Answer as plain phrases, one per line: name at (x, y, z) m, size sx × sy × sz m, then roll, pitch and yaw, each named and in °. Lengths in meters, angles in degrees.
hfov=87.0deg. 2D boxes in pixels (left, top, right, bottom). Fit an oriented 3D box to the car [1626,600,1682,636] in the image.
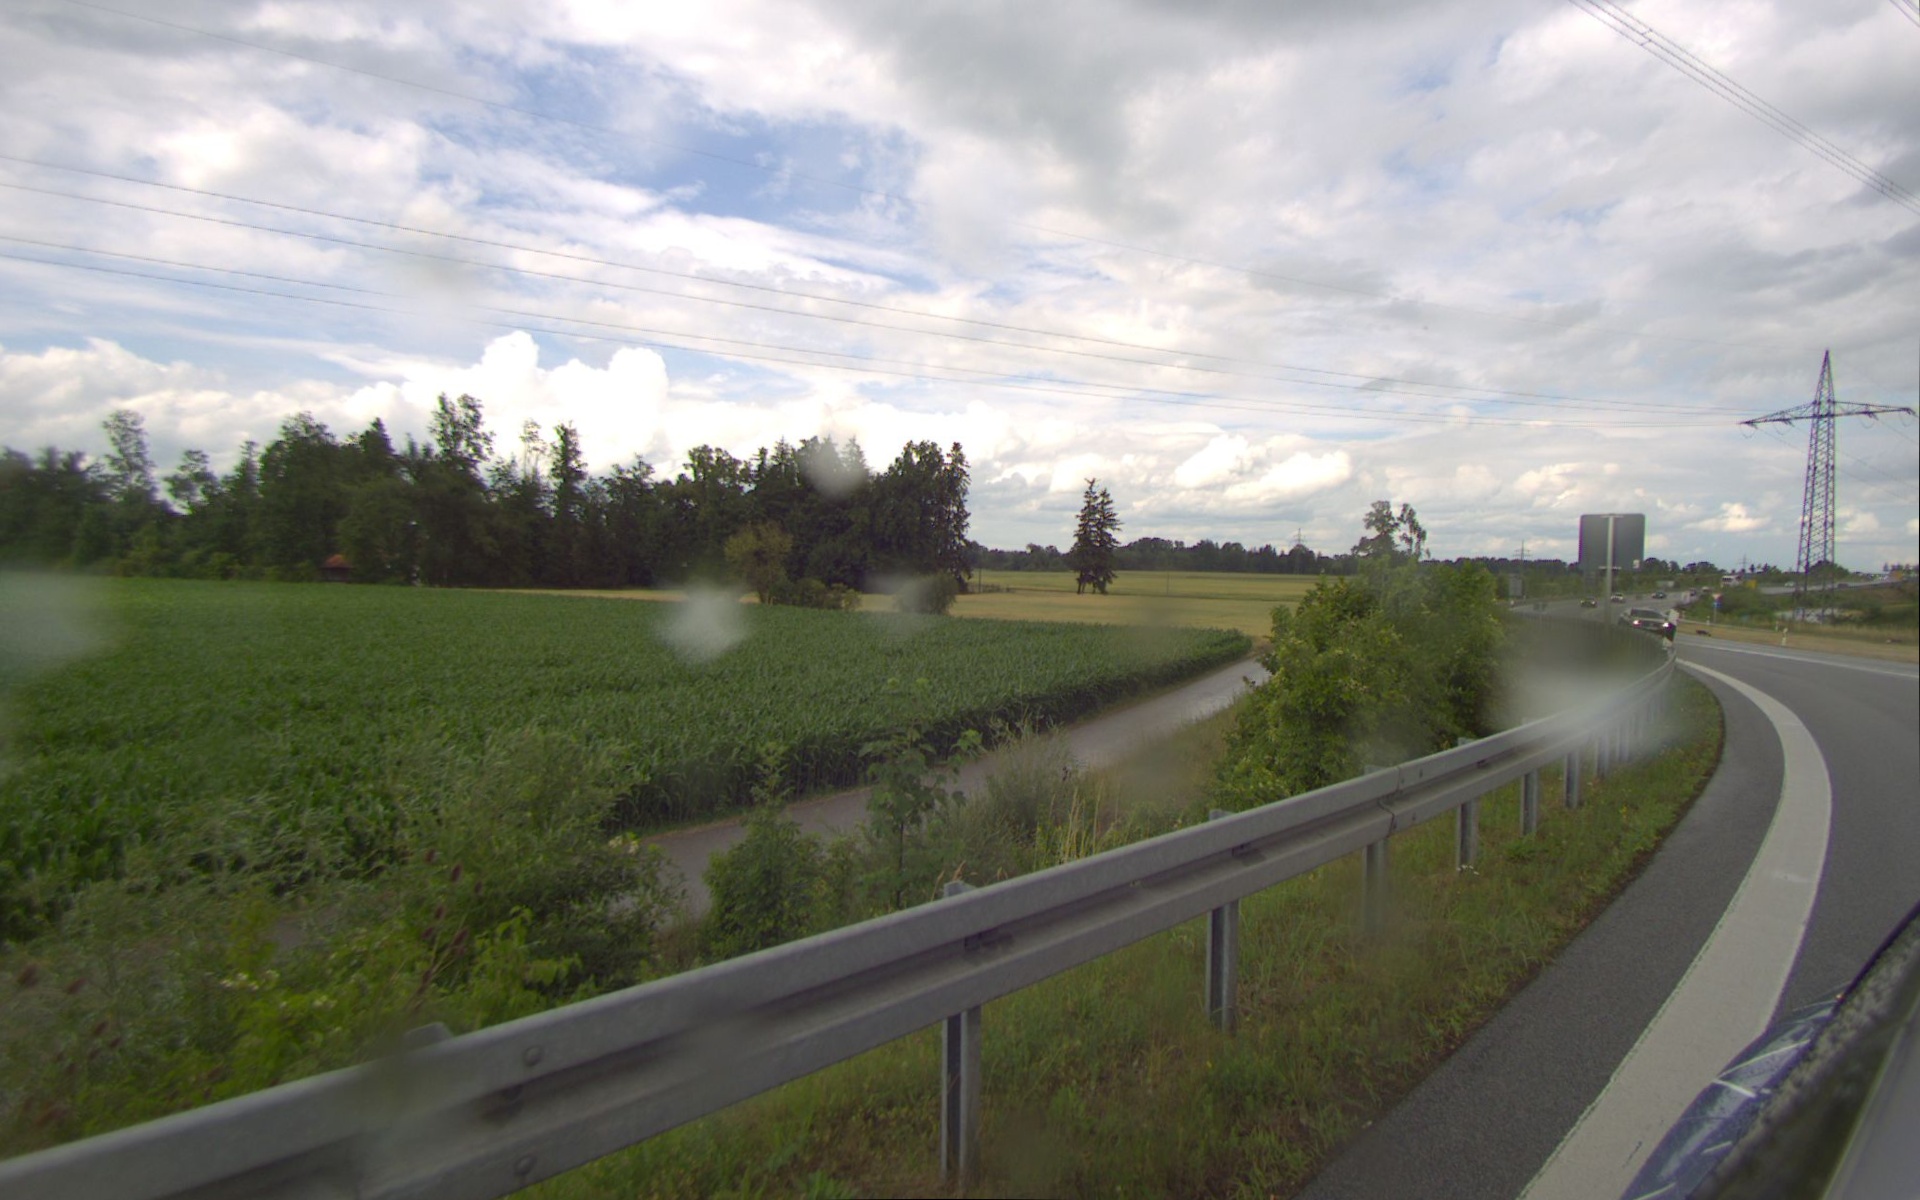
car at (36.242, 0.889, 52.934) m, size 1.982 × 1.774 × 3.960 m, roll 1°, pitch 1°, yaw 28°
